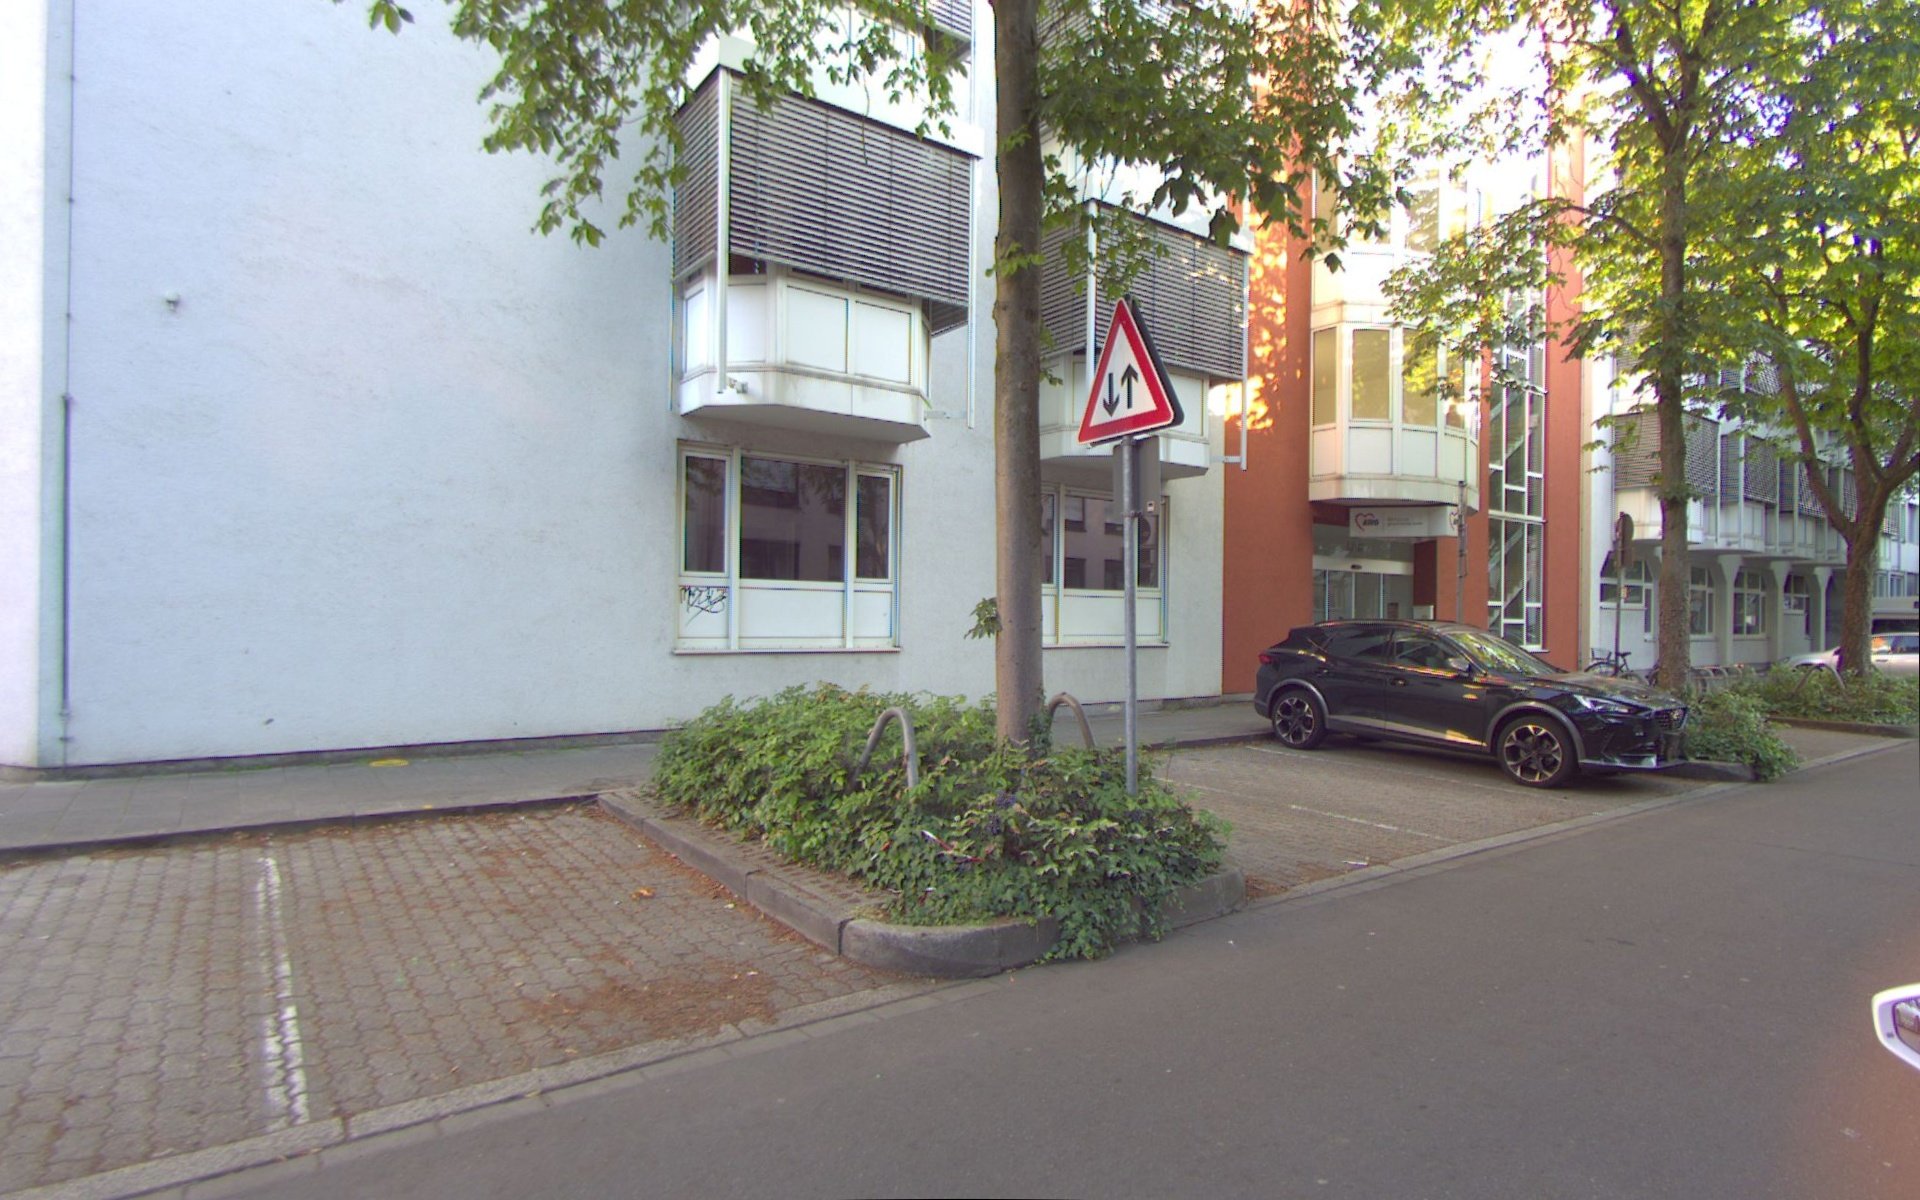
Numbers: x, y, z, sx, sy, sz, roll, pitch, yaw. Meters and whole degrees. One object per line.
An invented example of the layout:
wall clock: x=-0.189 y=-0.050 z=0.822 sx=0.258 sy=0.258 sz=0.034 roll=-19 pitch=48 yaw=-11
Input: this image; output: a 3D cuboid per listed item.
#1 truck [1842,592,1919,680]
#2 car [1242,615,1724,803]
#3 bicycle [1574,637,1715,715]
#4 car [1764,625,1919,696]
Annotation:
truck: x=28.436 y=1.038 z=28.391 sx=1.896 sy=2.474 sz=4.967 roll=0 pitch=1 yaw=-34
car: x=5.432 y=0.985 z=10.998 sx=1.817 sy=1.529 sz=4.326 roll=1 pitch=0 yaw=-36
bicycle: x=11.719 y=1.273 z=17.240 sx=1.949 sy=1.215 sz=0.499 roll=0 pitch=-1 yaw=44
car: x=21.728 y=1.414 z=23.640 sx=1.624 sy=1.491 sz=4.103 roll=1 pitch=0 yaw=-36
